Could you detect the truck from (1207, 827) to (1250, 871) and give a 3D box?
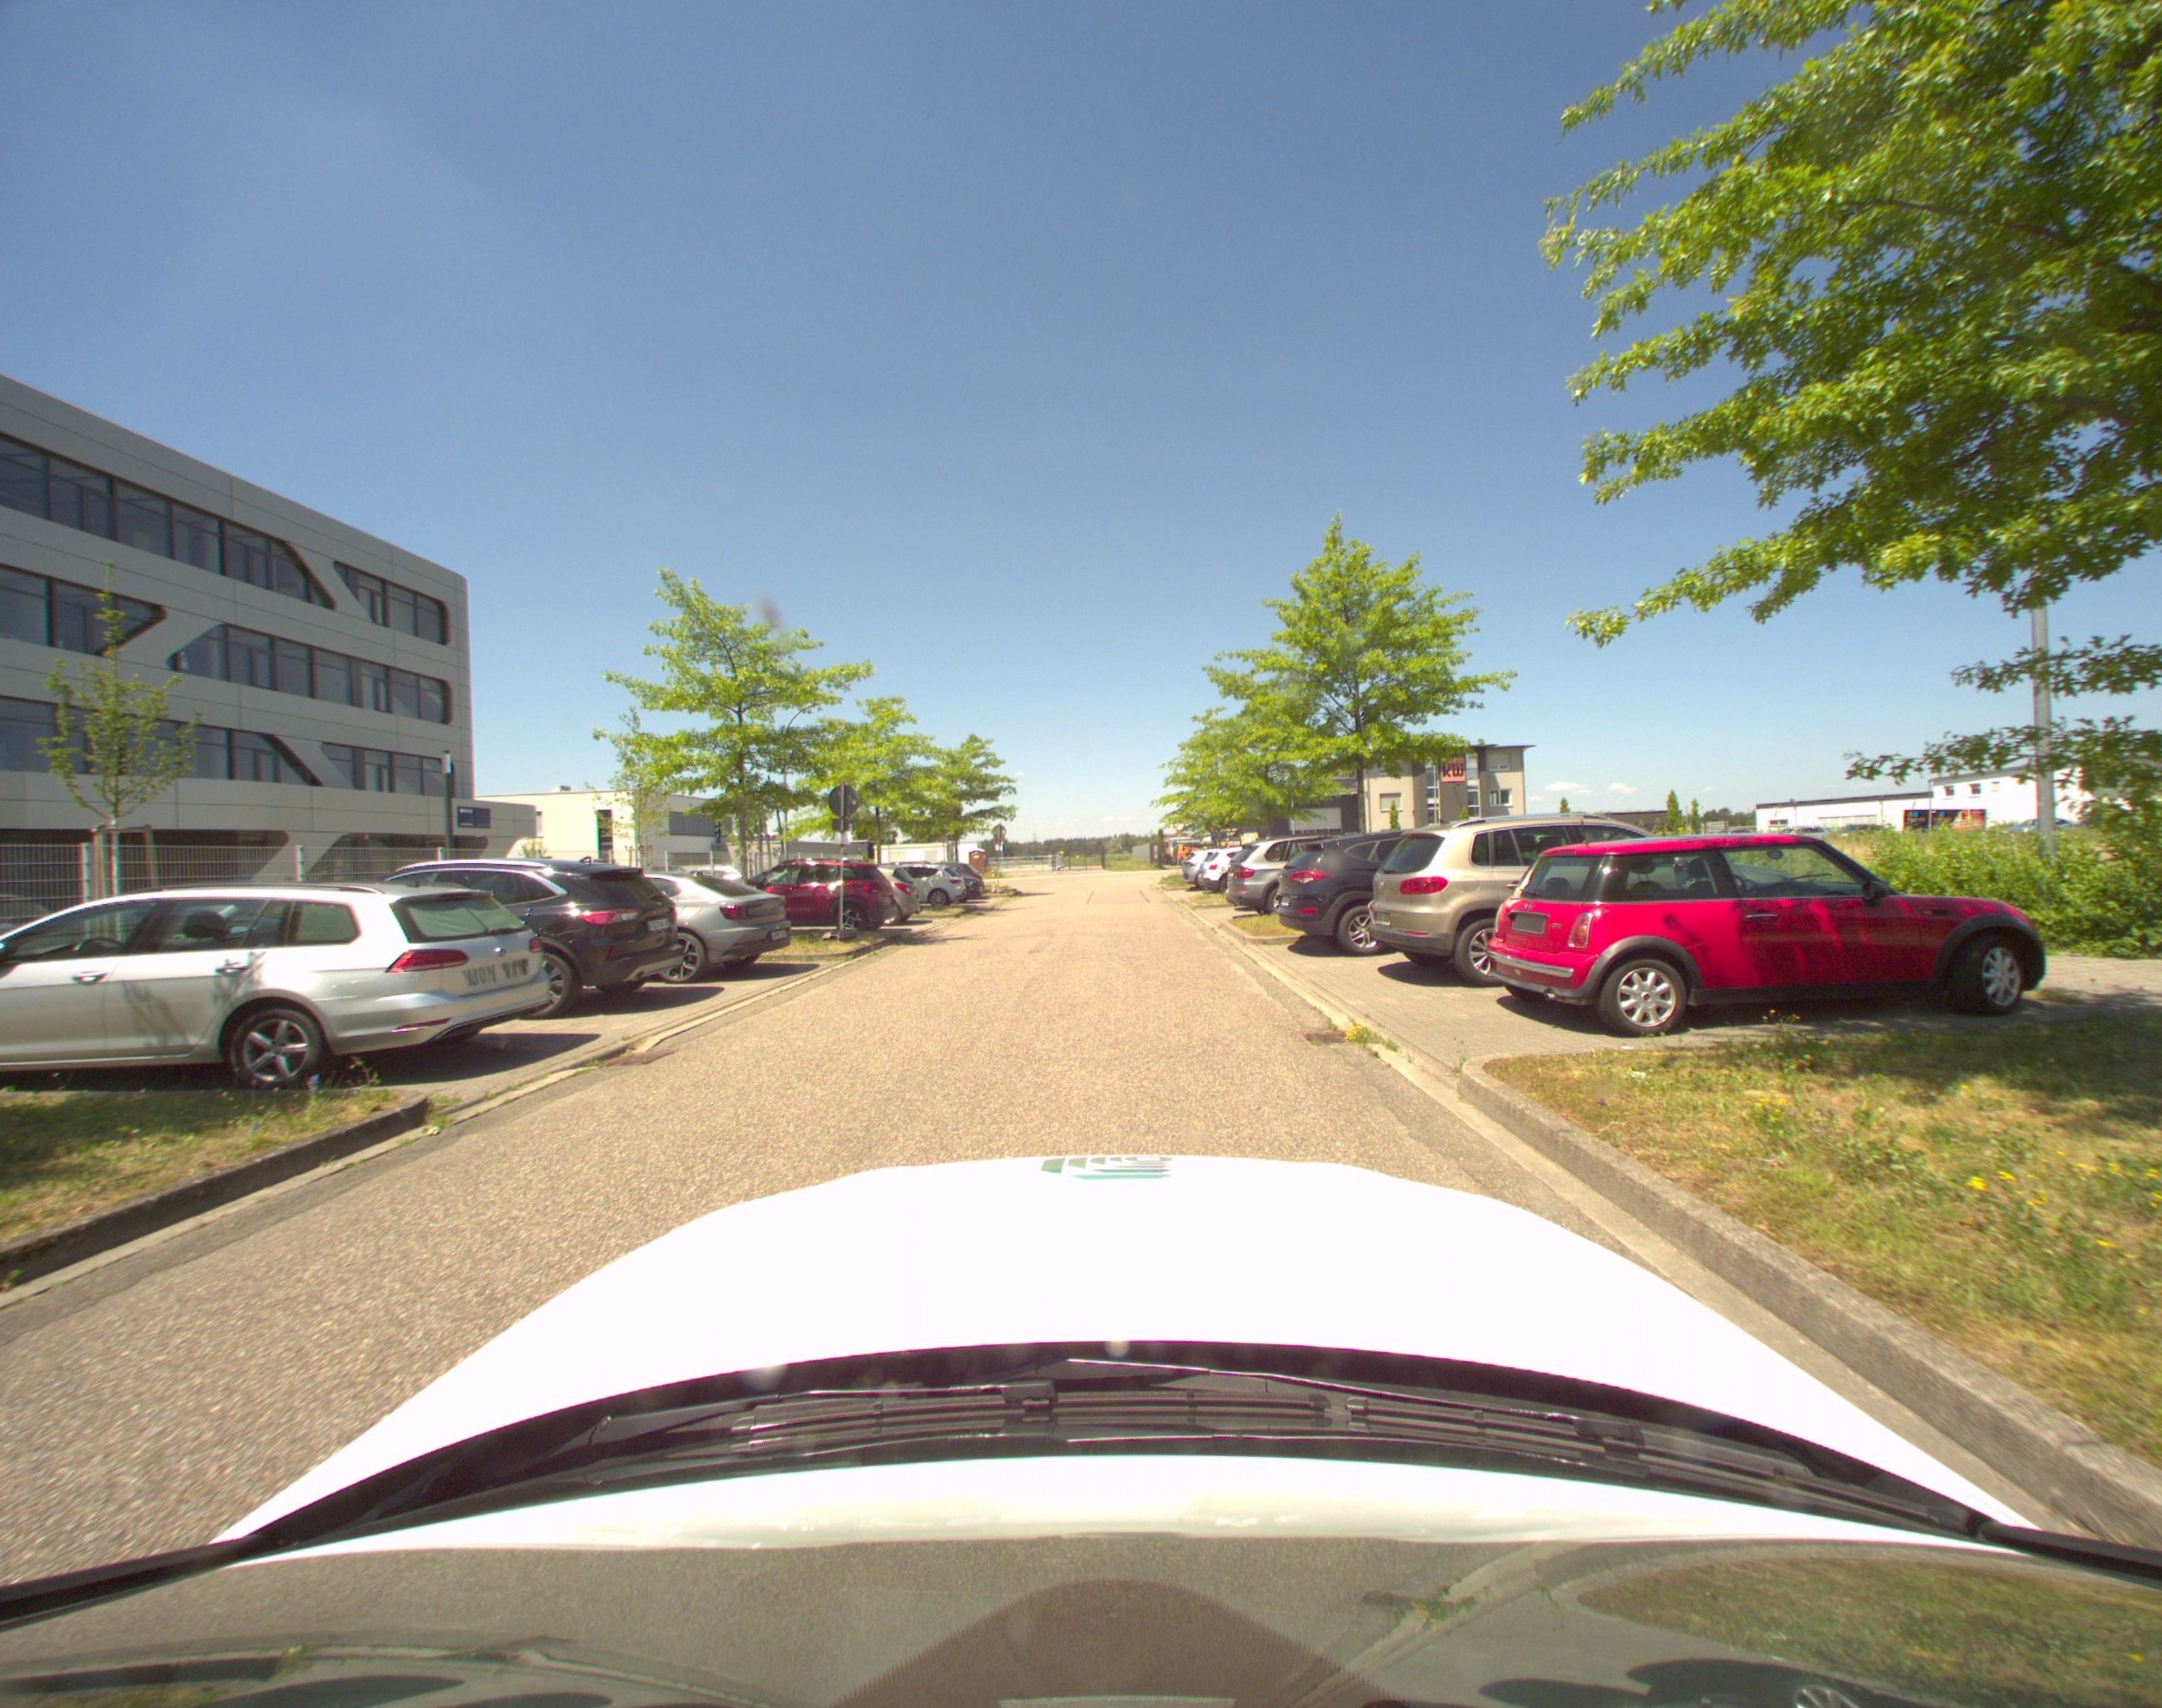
[{"bbox_3d":[13.956,-0.446,77.590,2.911,3.929,6.938,-3,0,1],"label":"truck"}]

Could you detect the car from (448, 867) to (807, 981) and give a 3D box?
[{"bbox_3d":[-6.327,0.942,11.664,4.176,1.480,1.714,0,0,2],"label":"car"}]

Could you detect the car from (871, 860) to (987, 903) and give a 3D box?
[{"bbox_3d":[-5.495,0.985,29.866,3.915,1.520,1.784,0,0,-1],"label":"car"}]

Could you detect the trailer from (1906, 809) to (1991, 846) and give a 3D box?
[{"bbox_3d":[65.601,-1.965,61.670,3.973,2.600,2.233,-3,0,0],"label":"trailer"}]

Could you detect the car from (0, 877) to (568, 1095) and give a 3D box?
[{"bbox_3d":[-6.621,0.938,6.472,4.025,1.461,1.604,0,0,-1],"label":"car"}]

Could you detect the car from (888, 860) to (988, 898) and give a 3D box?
[{"bbox_3d":[-5.609,0.987,32.245,3.614,1.436,1.726,0,0,-1],"label":"car"}]

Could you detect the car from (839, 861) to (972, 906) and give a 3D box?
[{"bbox_3d":[-5.821,0.981,27.405,4.064,1.424,1.872,0,0,-2],"label":"car"}]

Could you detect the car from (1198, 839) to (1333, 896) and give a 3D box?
[{"bbox_3d":[6.070,0.446,27.206,4.051,1.608,1.902,-4,-1,3],"label":"car"}]

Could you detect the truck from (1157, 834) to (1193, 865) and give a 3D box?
[{"bbox_3d":[9.572,-0.486,83.624,2.911,2.937,6.938,-3,0,1],"label":"truck"}]

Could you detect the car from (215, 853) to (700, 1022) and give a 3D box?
[{"bbox_3d":[-6.704,0.833,9.148,3.978,1.678,1.775,0,0,-3],"label":"car"}]

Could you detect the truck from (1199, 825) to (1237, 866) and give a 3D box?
[{"bbox_3d":[14.328,-0.861,85.756,2.911,3.929,6.938,-3,0,1],"label":"truck"}]

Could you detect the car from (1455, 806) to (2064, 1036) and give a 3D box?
[{"bbox_3d":[5.209,0.480,6.662,3.445,1.417,1.755,-4,0,1],"label":"car"}]

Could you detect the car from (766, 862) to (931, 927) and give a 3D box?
[{"bbox_3d":[-5.752,0.992,20.512,3.647,1.508,1.730,-1,0,-2],"label":"car"}]

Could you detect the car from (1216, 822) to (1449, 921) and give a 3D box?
[{"bbox_3d":[5.393,0.368,17.909,4.435,1.768,1.993,-4,0,0],"label":"car"}]

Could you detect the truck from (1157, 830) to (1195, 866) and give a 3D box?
[{"bbox_3d":[8.637,-0.522,74.497,2.717,3.061,6.938,-3,0,1],"label":"truck"}]

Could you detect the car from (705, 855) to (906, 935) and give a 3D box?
[{"bbox_3d":[-5.953,0.861,17.900,3.722,1.621,1.818,-1,0,2],"label":"car"}]

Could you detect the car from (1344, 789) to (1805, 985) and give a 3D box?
[{"bbox_3d":[5.122,0.333,8.891,3.860,1.678,1.783,-4,0,2],"label":"car"}]

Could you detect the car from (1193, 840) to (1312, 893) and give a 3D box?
[{"bbox_3d":[6.246,0.443,29.964,3.973,1.644,1.839,-3,0,1],"label":"car"}]

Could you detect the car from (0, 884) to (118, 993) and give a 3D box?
[{"bbox_3d":[-16.040,1.237,11.233,3.467,1.390,1.678,-3,0,1],"label":"car"}]

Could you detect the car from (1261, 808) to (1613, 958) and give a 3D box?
[{"bbox_3d":[4.881,0.382,11.608,4.159,1.696,1.782,-4,0,1],"label":"car"}]

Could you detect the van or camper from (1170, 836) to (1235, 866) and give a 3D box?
[{"bbox_3d":[9.725,-0.234,65.529,4.918,2.163,2.001,-3,1,1],"label":"van or camper"}]

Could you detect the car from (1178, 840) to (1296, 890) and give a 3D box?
[{"bbox_3d":[6.070,0.432,32.121,4.263,1.644,1.852,-4,0,2],"label":"car"}]
